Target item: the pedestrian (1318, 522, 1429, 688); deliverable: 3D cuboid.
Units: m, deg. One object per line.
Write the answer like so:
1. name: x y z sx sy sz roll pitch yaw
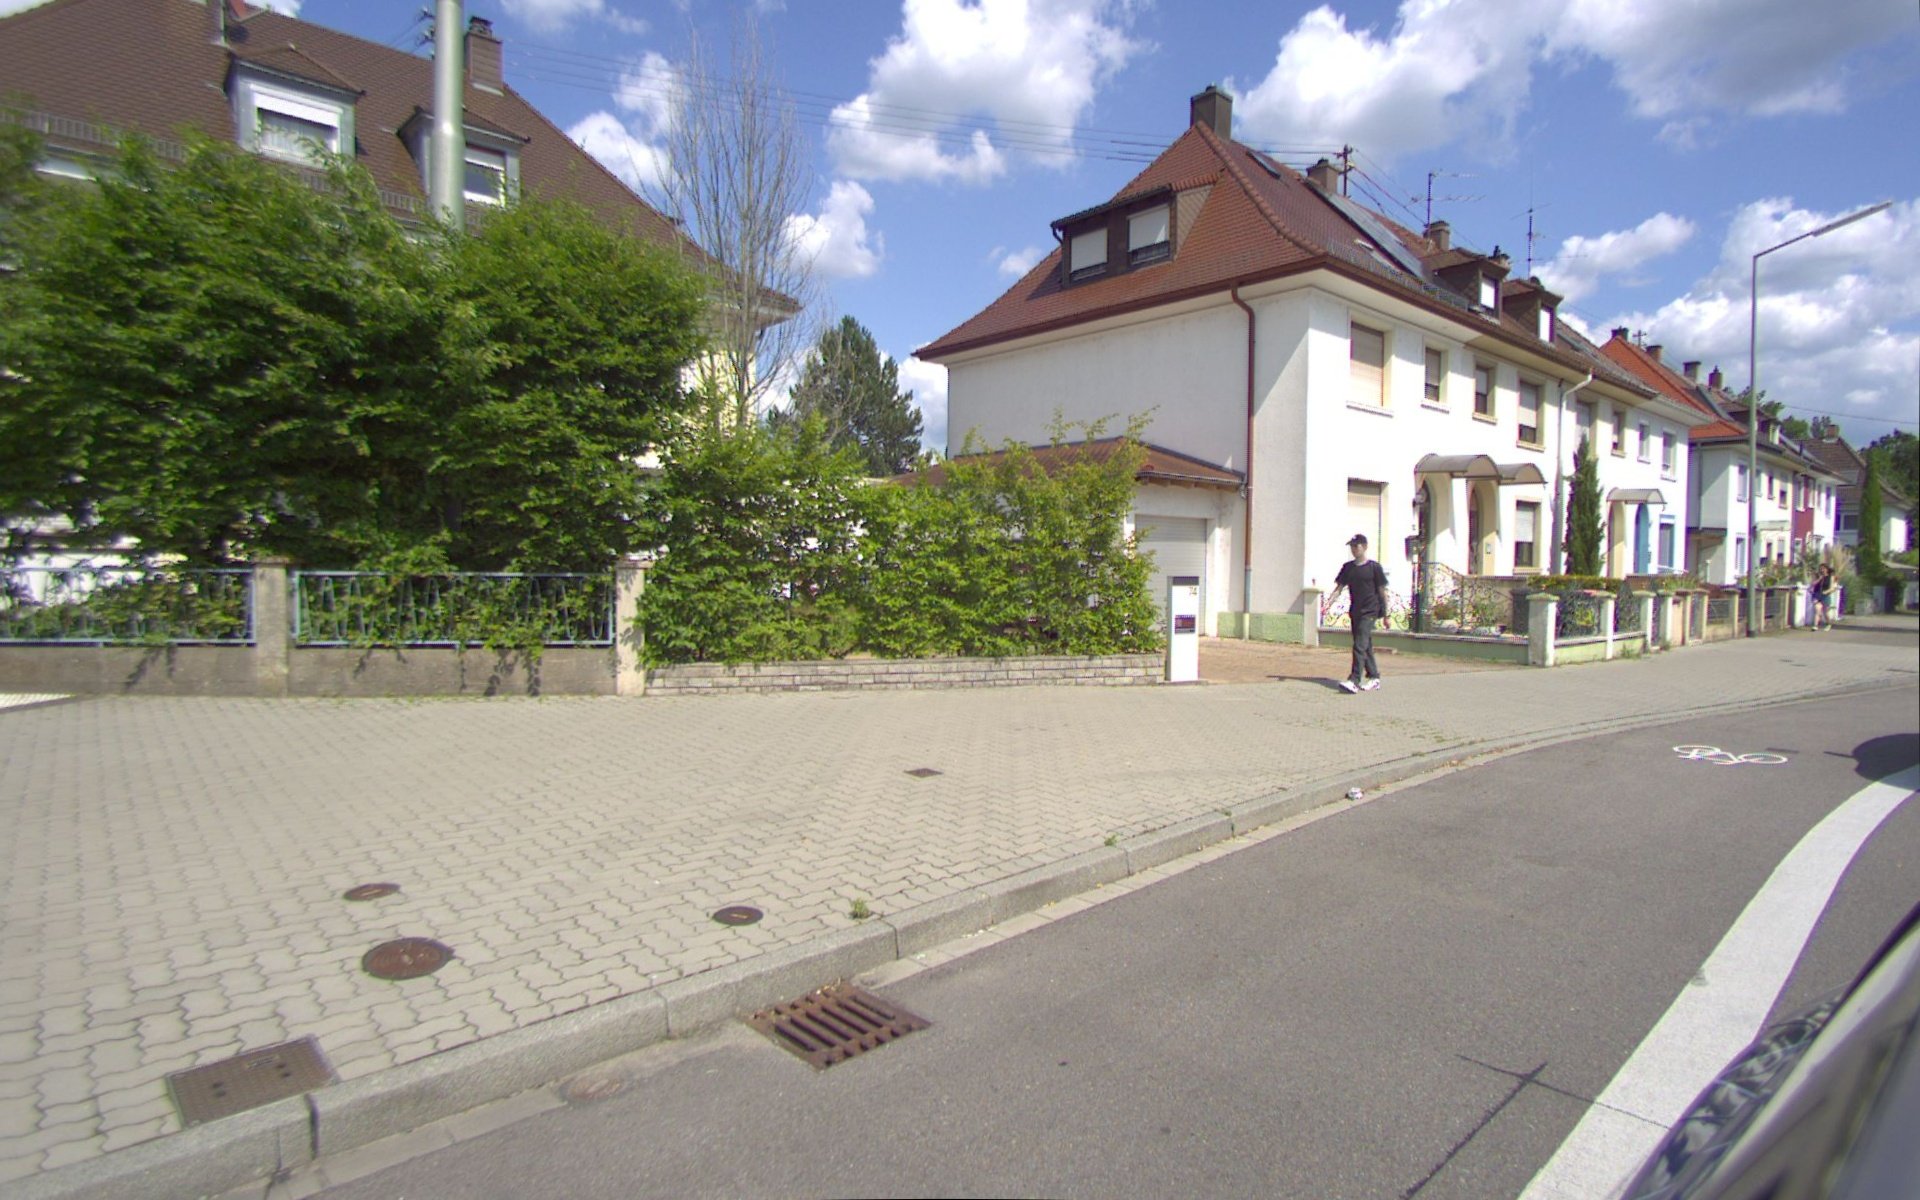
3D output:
1. pedestrian: 4.602 0.047 11.301 0.919 1.789 0.593 1 2 -5

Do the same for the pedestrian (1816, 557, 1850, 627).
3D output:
1. pedestrian: 21.949 -0.201 25.457 0.607 1.732 0.518 -1 2 -41

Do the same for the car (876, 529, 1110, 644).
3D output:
1. car: 0.450 -0.300 17.328 1.834 1.729 3.997 -1 3 -39
